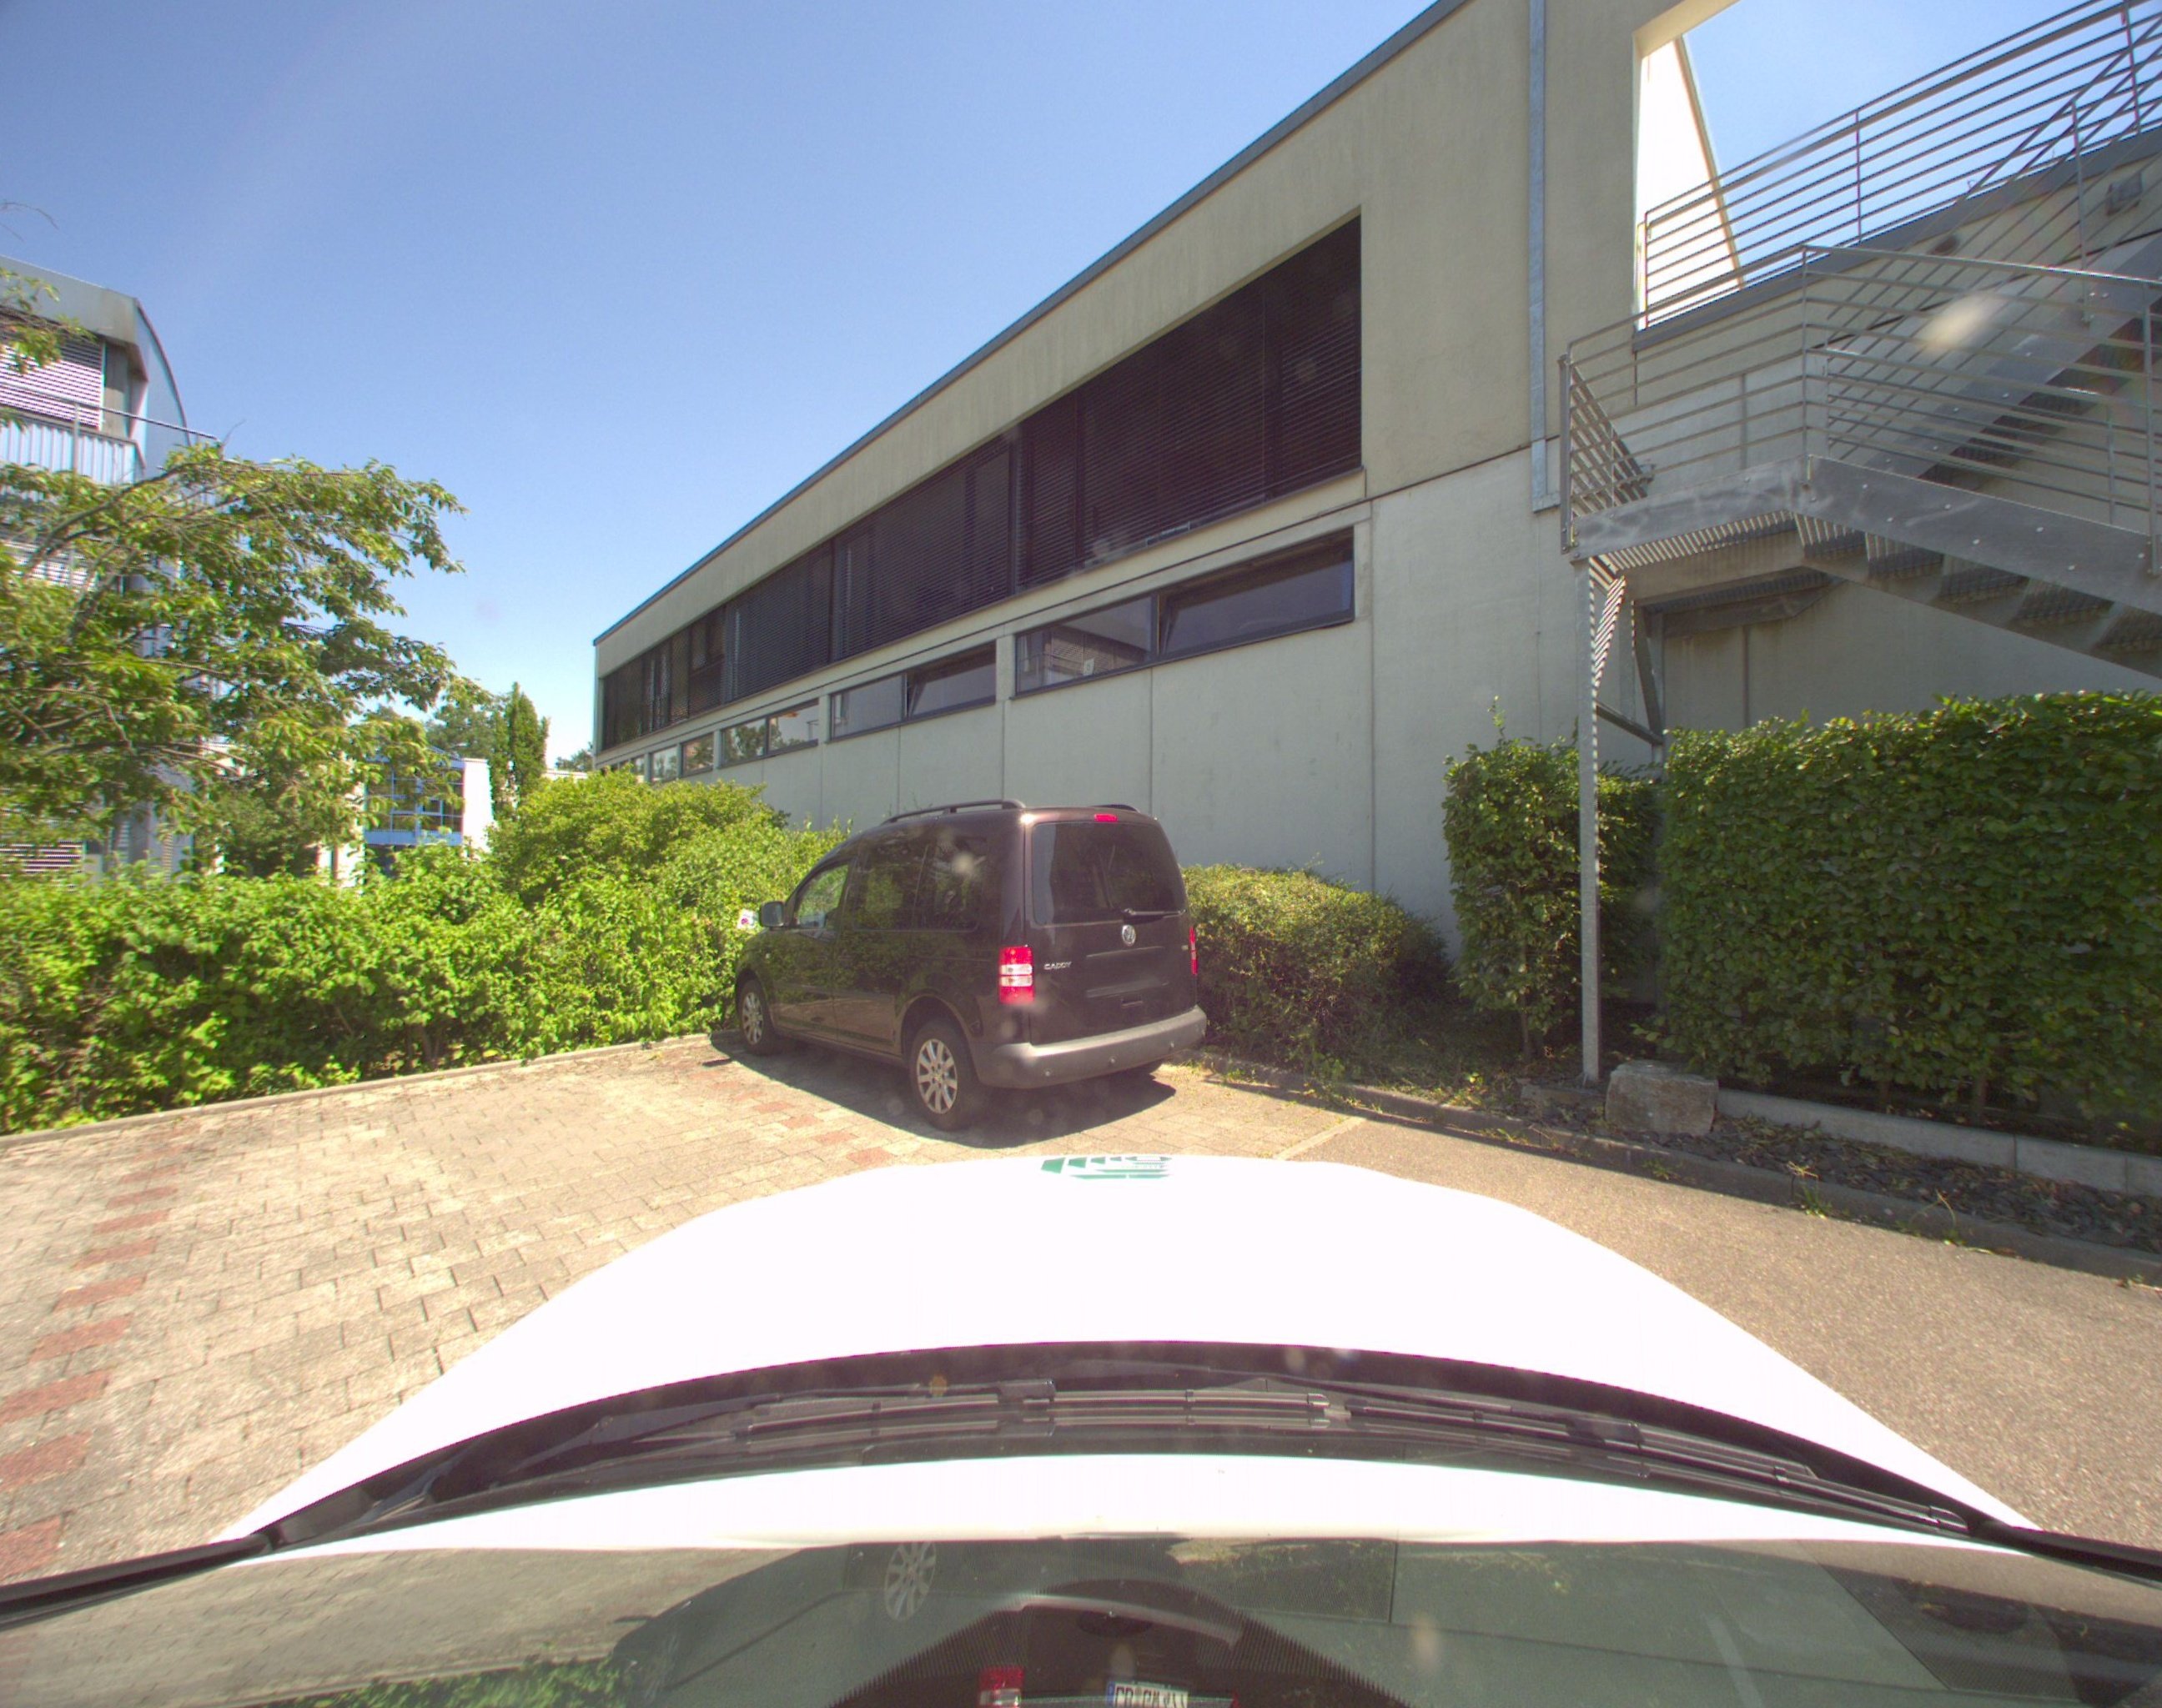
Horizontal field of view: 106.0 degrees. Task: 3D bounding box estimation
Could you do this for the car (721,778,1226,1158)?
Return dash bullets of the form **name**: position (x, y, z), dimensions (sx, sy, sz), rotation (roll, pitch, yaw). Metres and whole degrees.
- **car**: position (-1.078, 0.585, 6.082), dimensions (1.688, 1.884, 4.021), rotation (0, -1, -44)
